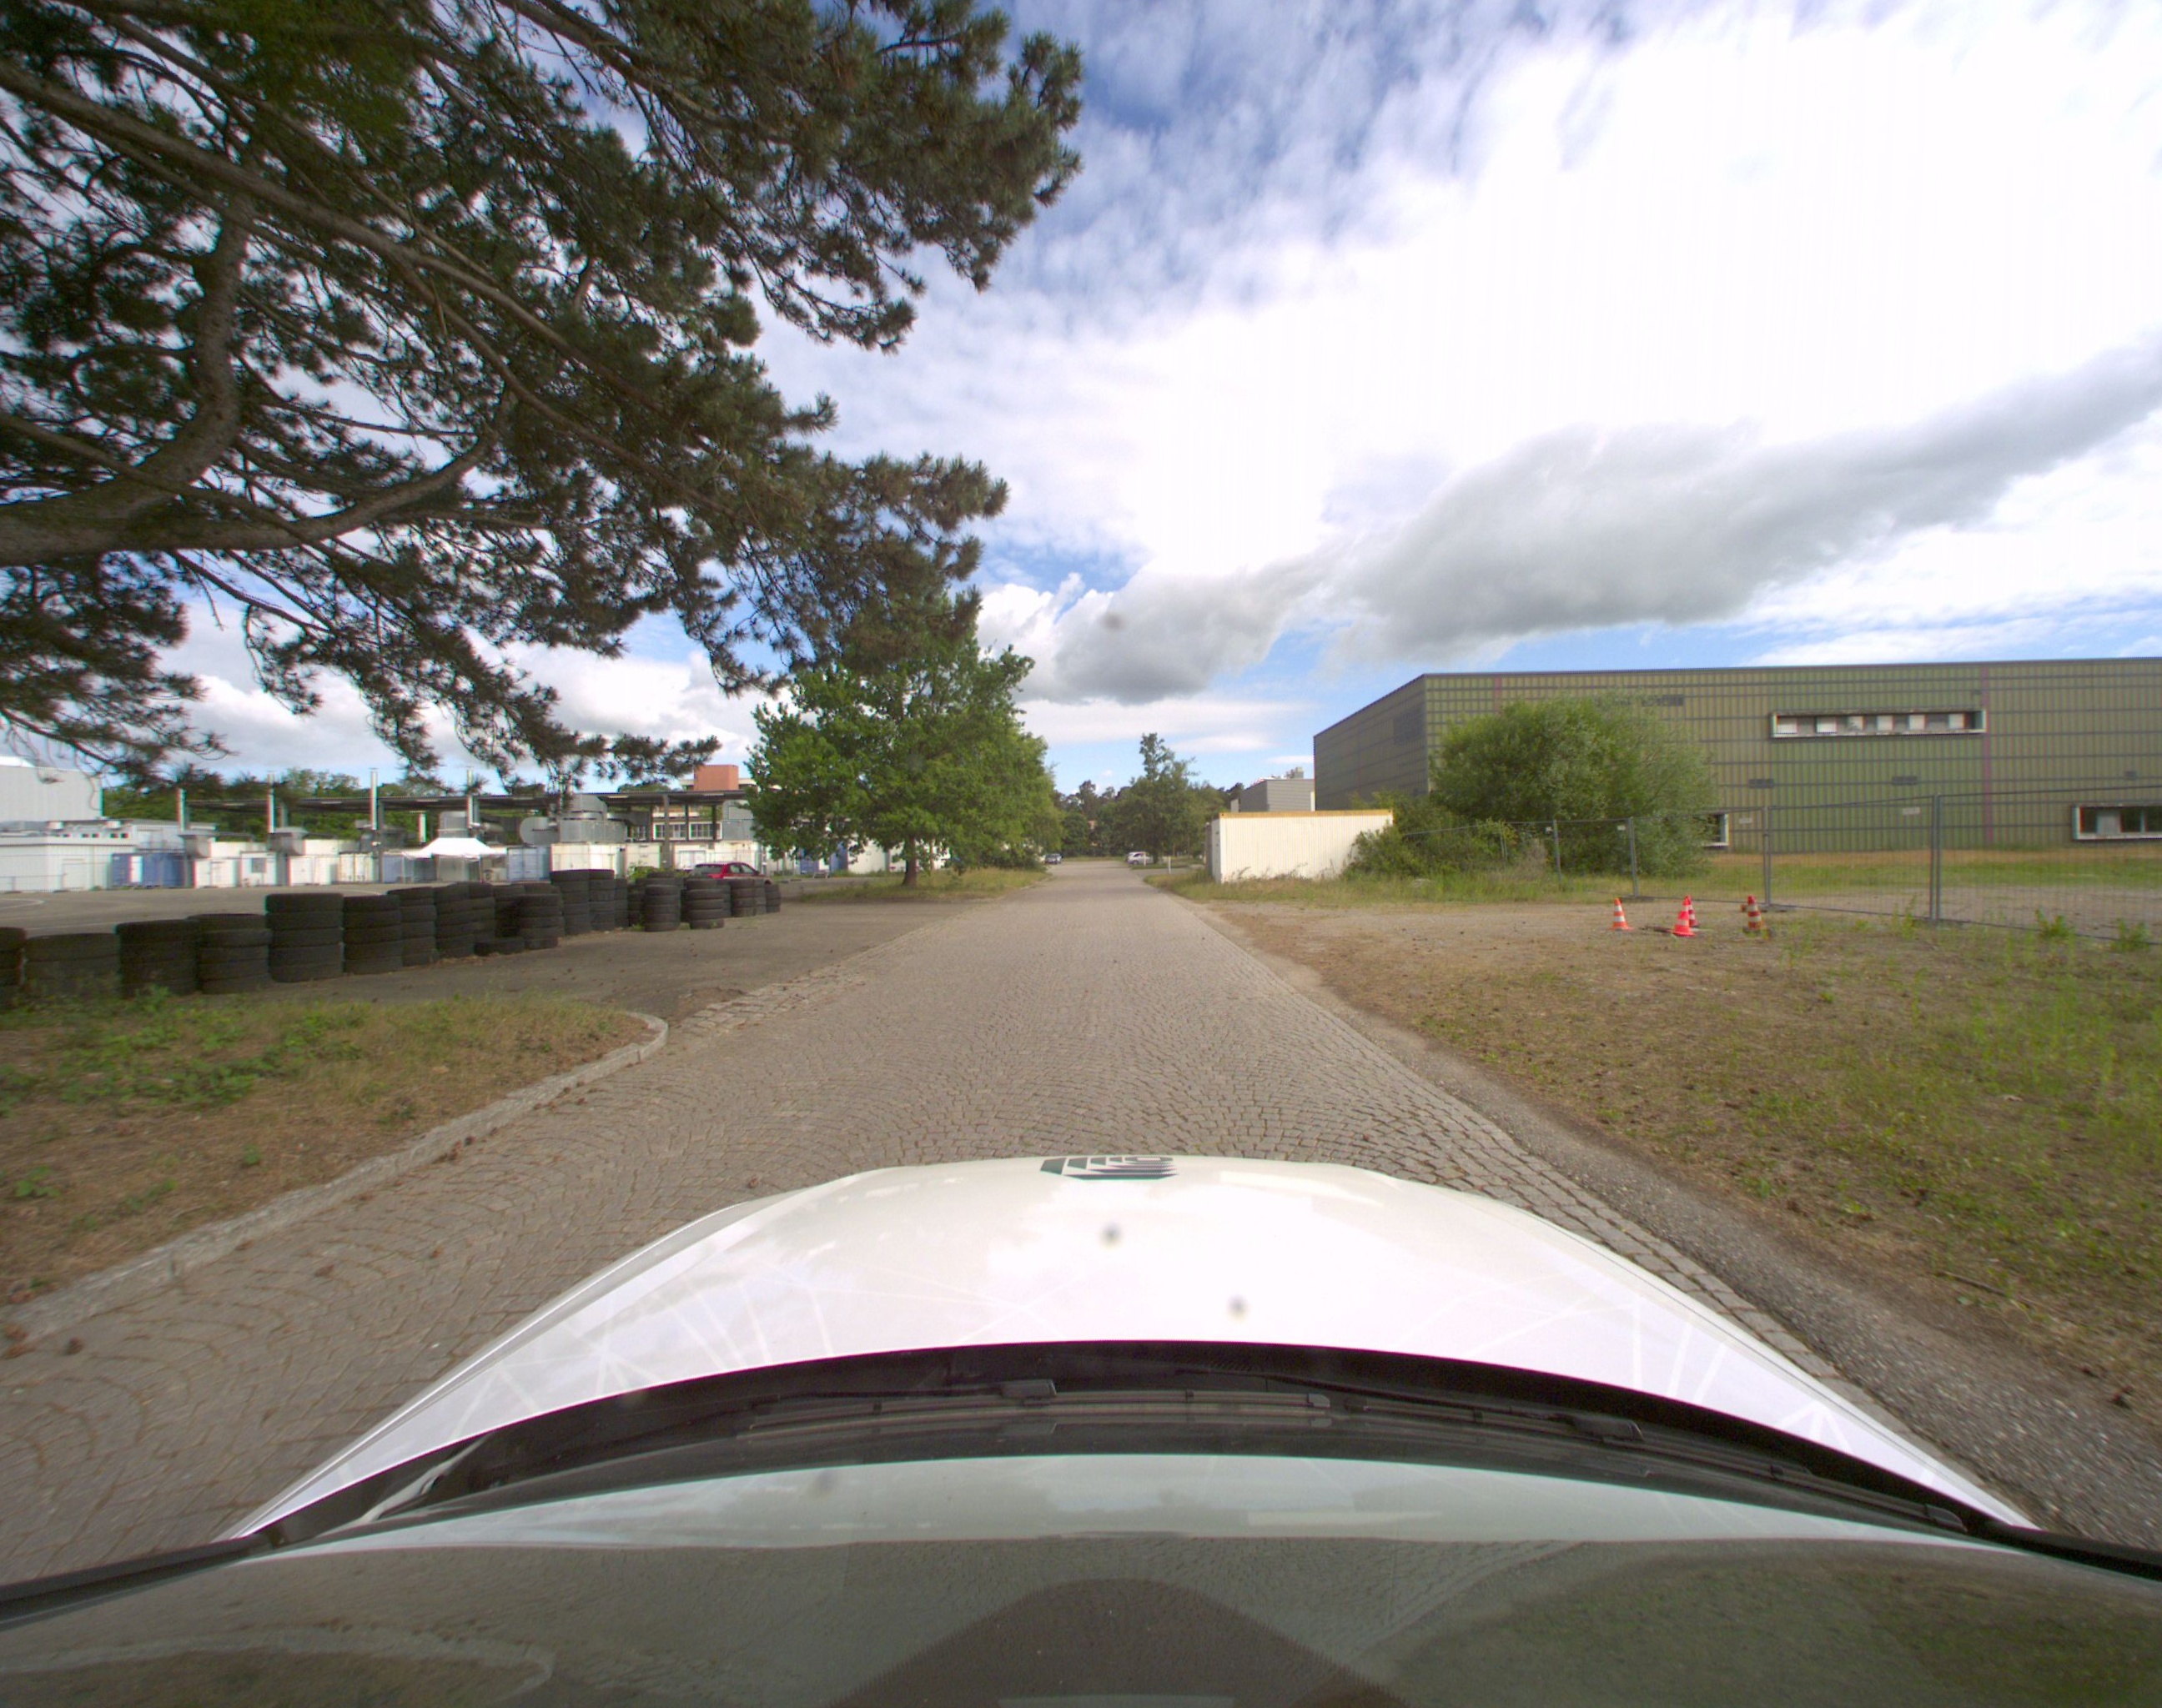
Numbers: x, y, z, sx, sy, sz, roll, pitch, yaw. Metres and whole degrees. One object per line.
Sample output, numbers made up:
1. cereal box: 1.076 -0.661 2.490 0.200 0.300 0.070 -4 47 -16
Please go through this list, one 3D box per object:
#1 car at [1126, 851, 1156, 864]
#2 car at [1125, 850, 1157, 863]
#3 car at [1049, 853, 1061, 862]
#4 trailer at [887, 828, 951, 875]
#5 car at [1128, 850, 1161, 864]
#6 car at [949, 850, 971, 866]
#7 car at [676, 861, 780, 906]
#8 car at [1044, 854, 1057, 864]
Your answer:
1. car: 7.212 0.473 97.823 3.509 1.362 1.623 -3 0 2
2. car: 7.742 0.342 105.644 3.969 1.475 1.654 -3 0 2
3. car: -4.090 0.585 129.950 1.641 1.458 3.999 -1 0 2
4. trailer: -13.324 -0.199 67.861 2.614 3.598 10.188 -1 0 4
5. car: 7.828 0.346 100.507 3.969 1.448 1.654 -3 0 2
6. car: -15.989 0.500 107.788 1.986 2.013 4.770 -1 0 2
7. car: -12.822 1.028 29.864 1.617 1.433 4.072 -1 1 7
8. car: -4.502 0.689 119.609 1.641 1.369 3.999 -1 0 2
